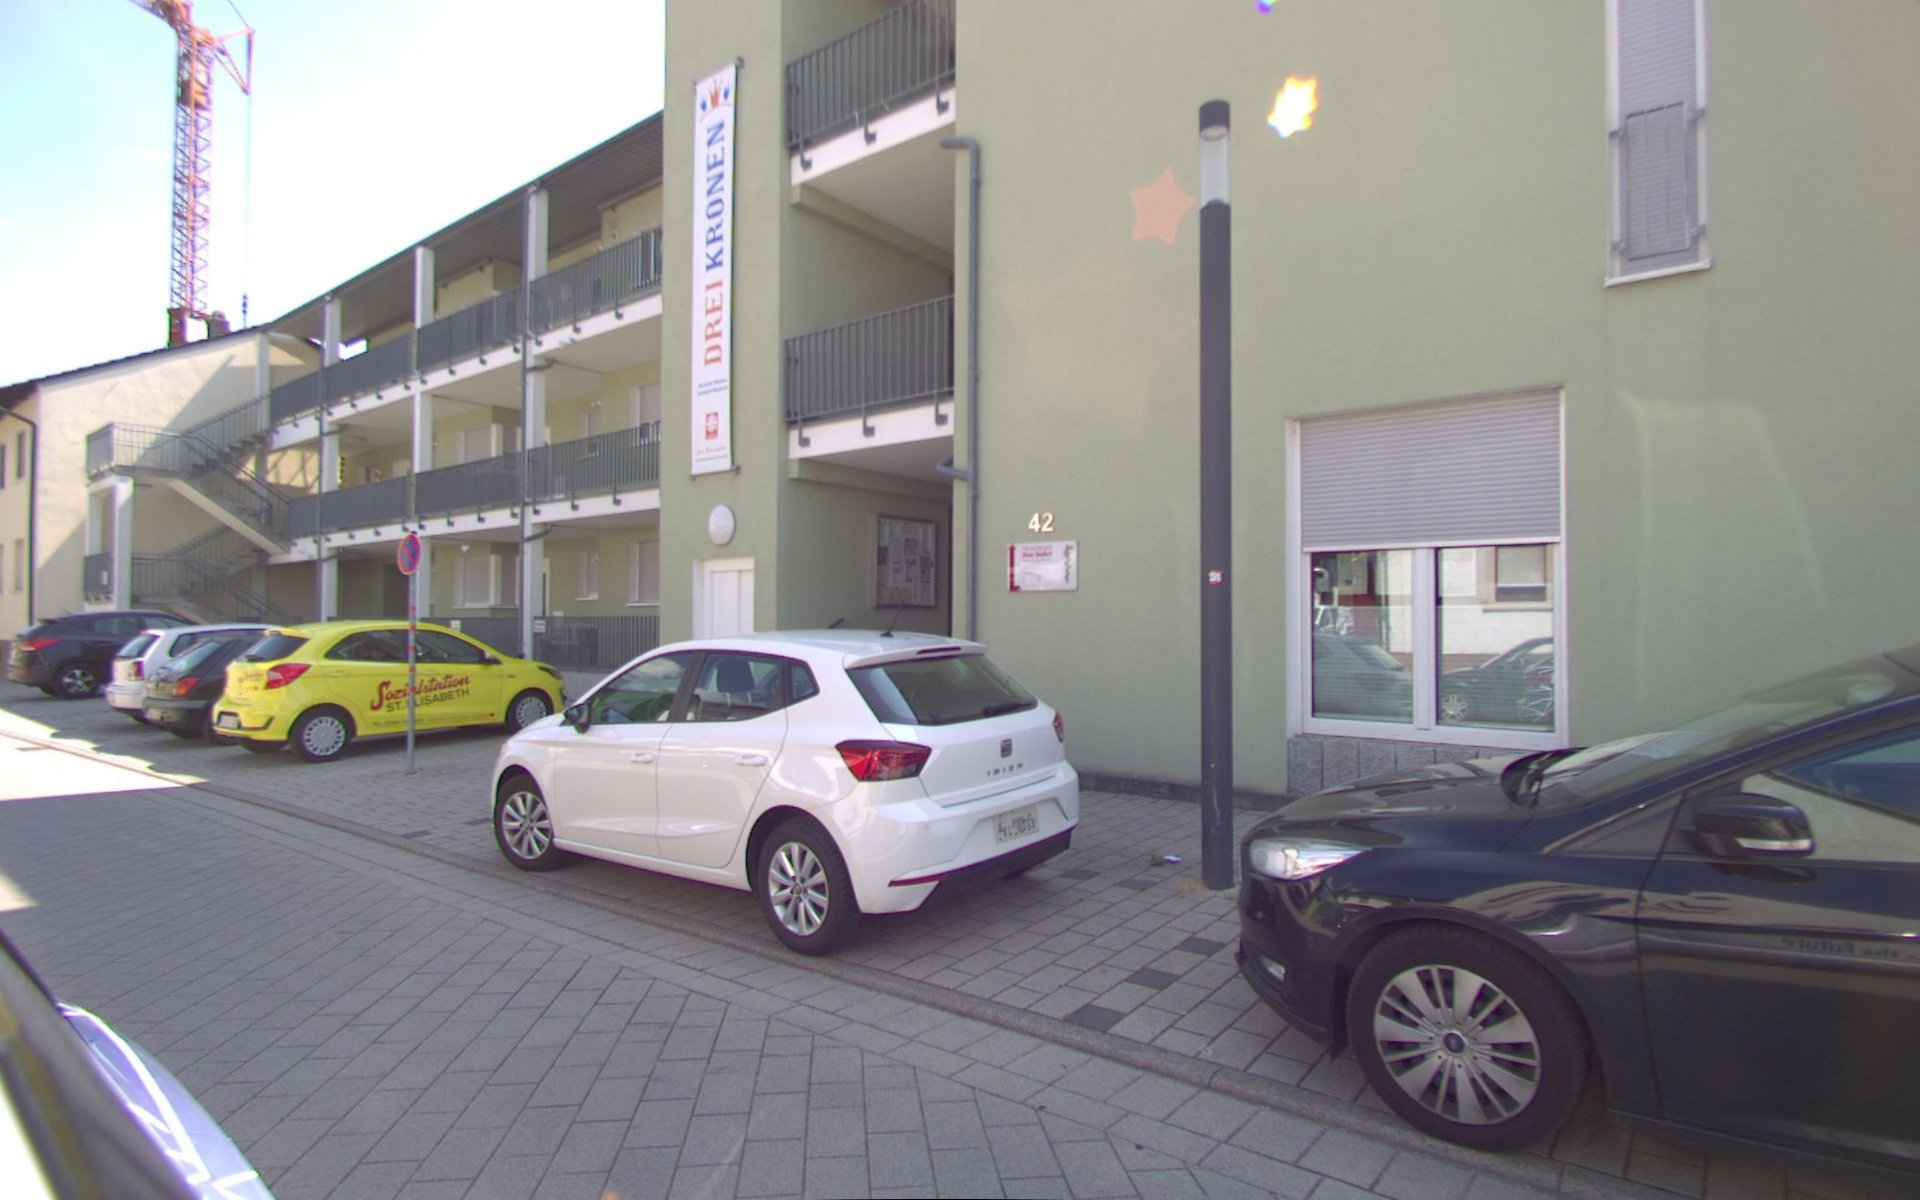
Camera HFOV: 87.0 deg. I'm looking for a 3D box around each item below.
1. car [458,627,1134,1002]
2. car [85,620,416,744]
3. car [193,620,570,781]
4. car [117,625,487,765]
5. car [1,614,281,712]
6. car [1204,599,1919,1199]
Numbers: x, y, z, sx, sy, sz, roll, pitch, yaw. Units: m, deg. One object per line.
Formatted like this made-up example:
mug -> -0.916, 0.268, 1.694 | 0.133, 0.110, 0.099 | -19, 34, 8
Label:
car -> -1.134, 0.905, 5.894 | 3.873, 1.421, 1.741 | -2, 0, 39
car -> -10.850, 1.152, 15.686 | 1.749, 1.514, 3.862 | -2, 0, 40
car -> -6.912, 1.087, 12.427 | 1.668, 1.537, 3.661 | -2, 0, 35
car -> -8.923, 1.173, 14.014 | 1.689, 1.452, 3.949 | -1, 1, 38
car -> -16.586, 1.187, 20.669 | 1.782, 1.671, 4.177 | -1, 0, 39
car -> 3.009, 0.747, 2.598 | 4.272, 1.502, 1.796 | -2, -1, 39
